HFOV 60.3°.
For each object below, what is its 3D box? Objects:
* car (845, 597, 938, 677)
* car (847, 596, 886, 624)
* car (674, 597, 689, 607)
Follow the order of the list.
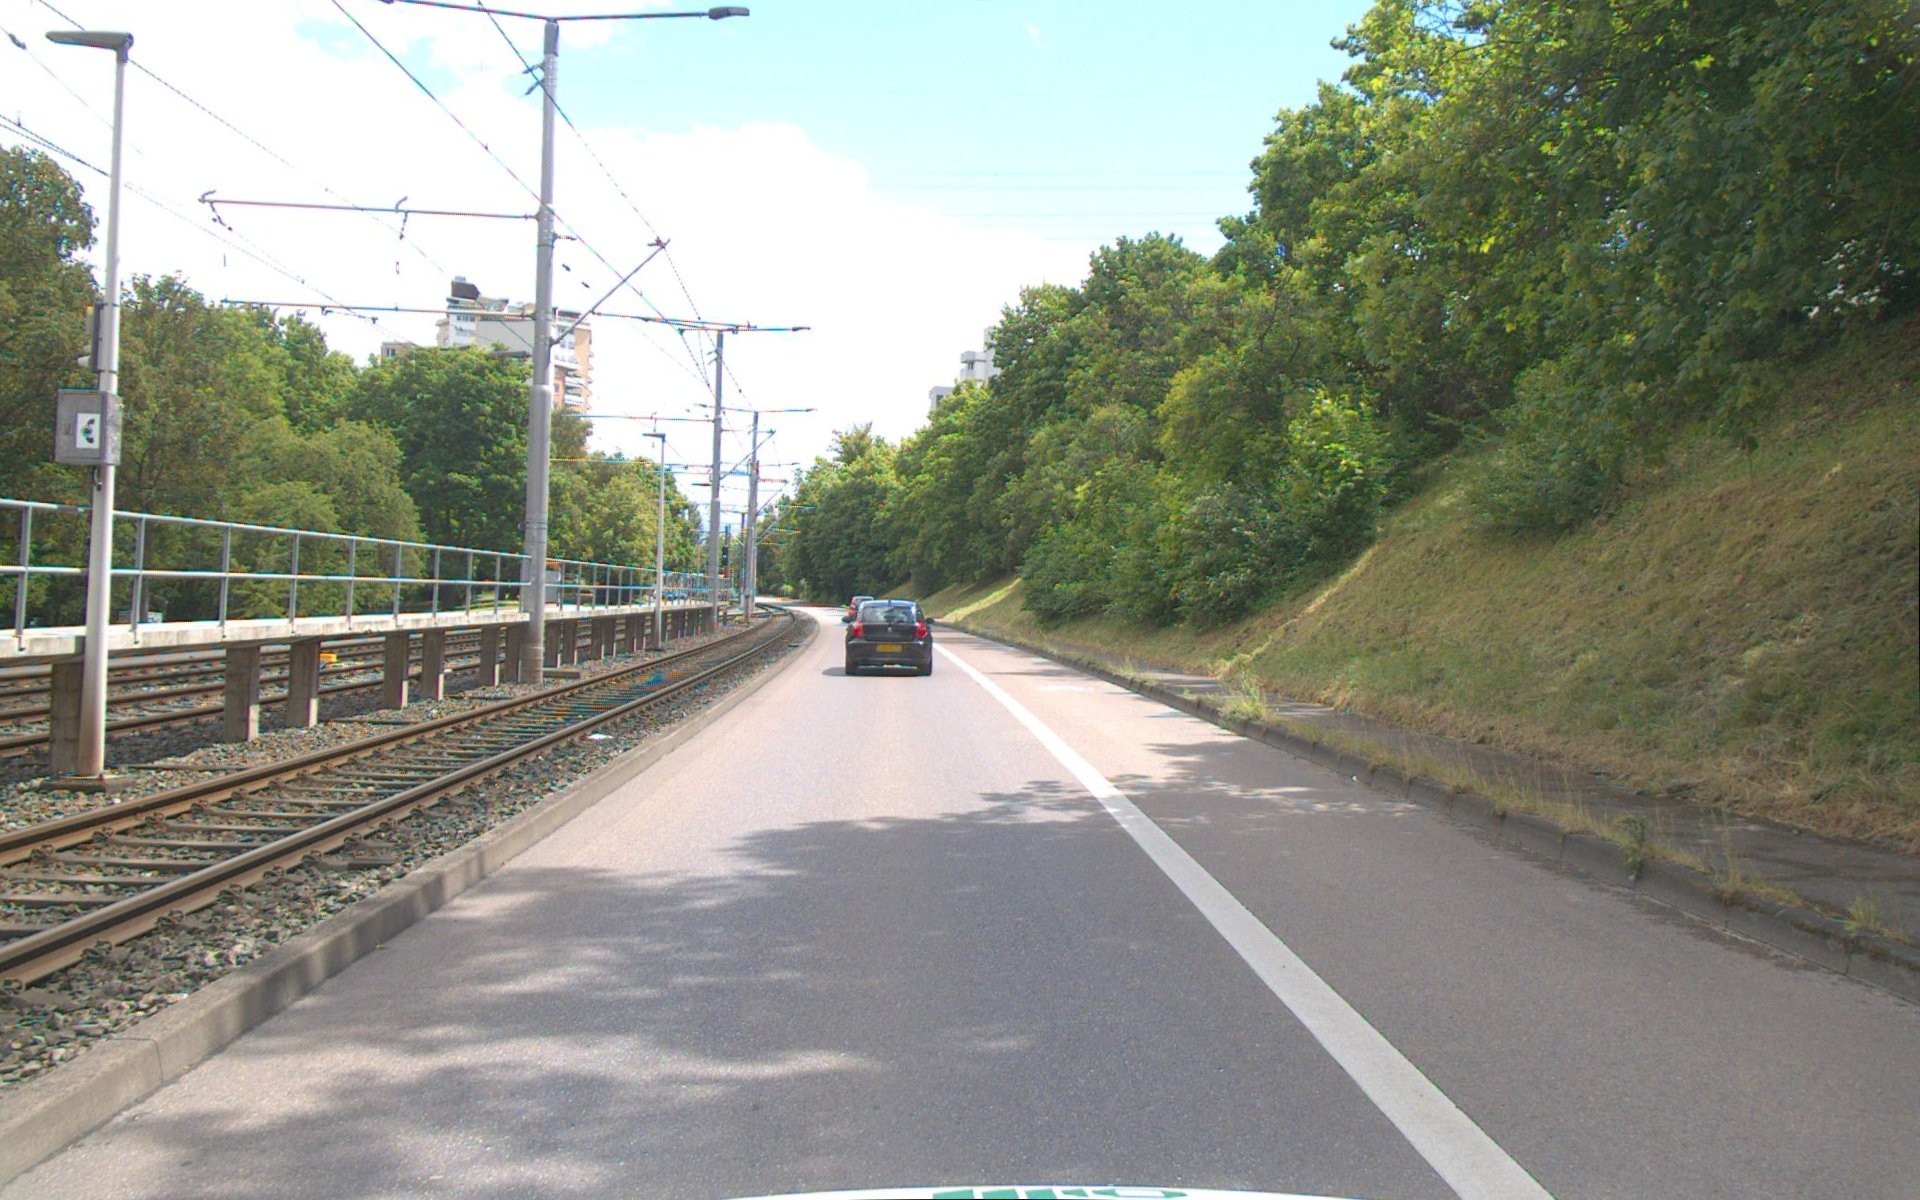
[{"bbox_3d":[-1.398,0.696,32.946,1.746,1.485,3.918,0,0,-3],"label":"car"},{"bbox_3d":[-5.168,0.565,91.123,1.748,1.485,3.912,1,0,-9],"label":"car"},{"bbox_3d":[-39.240,0.247,233.092,1.800,1.415,4.855,-1,0,-6],"label":"car"}]
